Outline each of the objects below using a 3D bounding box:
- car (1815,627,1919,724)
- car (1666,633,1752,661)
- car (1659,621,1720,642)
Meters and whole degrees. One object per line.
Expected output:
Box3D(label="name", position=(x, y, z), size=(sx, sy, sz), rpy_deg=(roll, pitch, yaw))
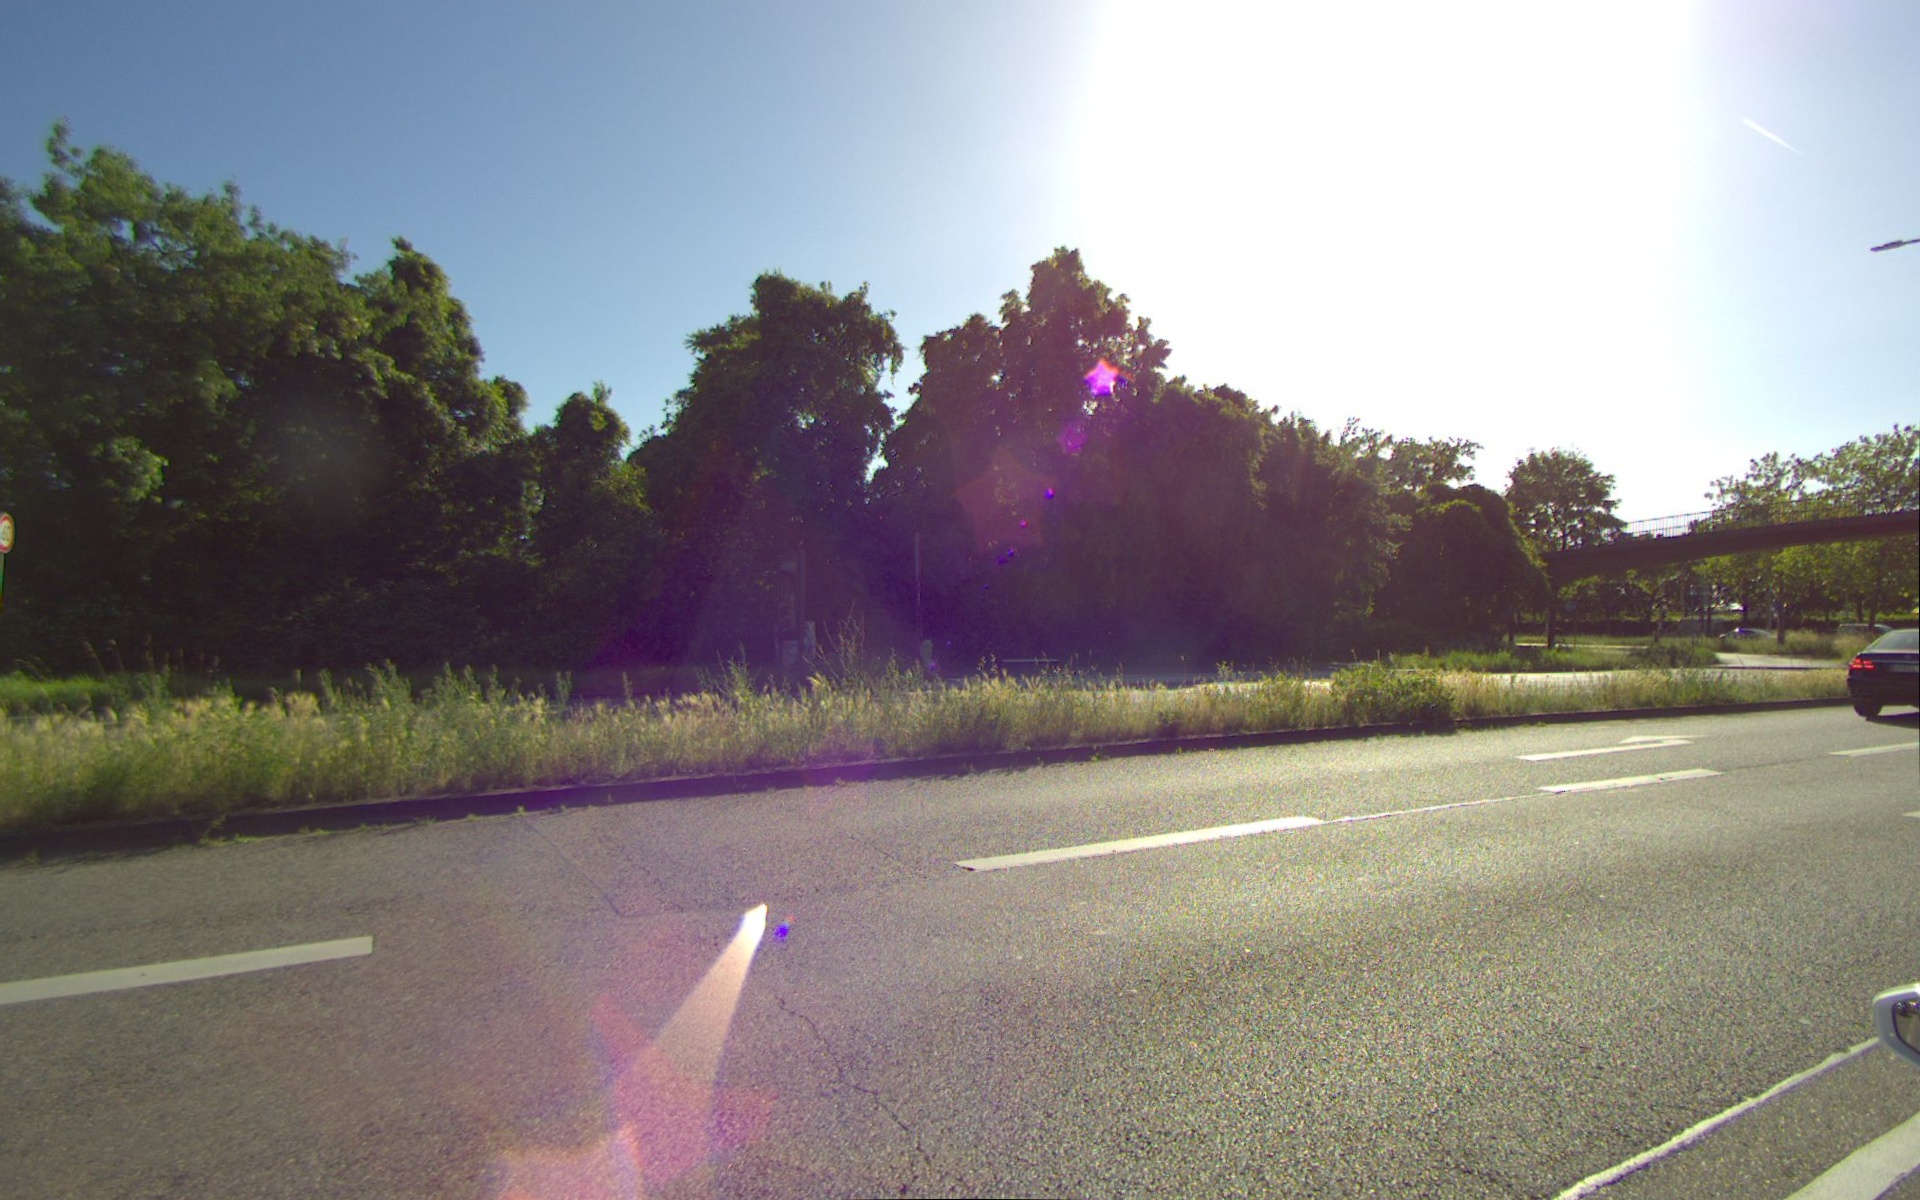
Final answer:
Box3D(label="car", position=(16.783, 1.238, 16.977), size=(4.857, 1.502, 1.951), rpy_deg=(2, -2, -28))
Box3D(label="car", position=(49.221, 3.079, 66.079), size=(1.965, 1.672, 4.311), rpy_deg=(2, -1, -12))
Box3D(label="car", position=(76.322, 3.244, 105.125), size=(1.976, 2.040, 4.764), rpy_deg=(2, -1, -29))
